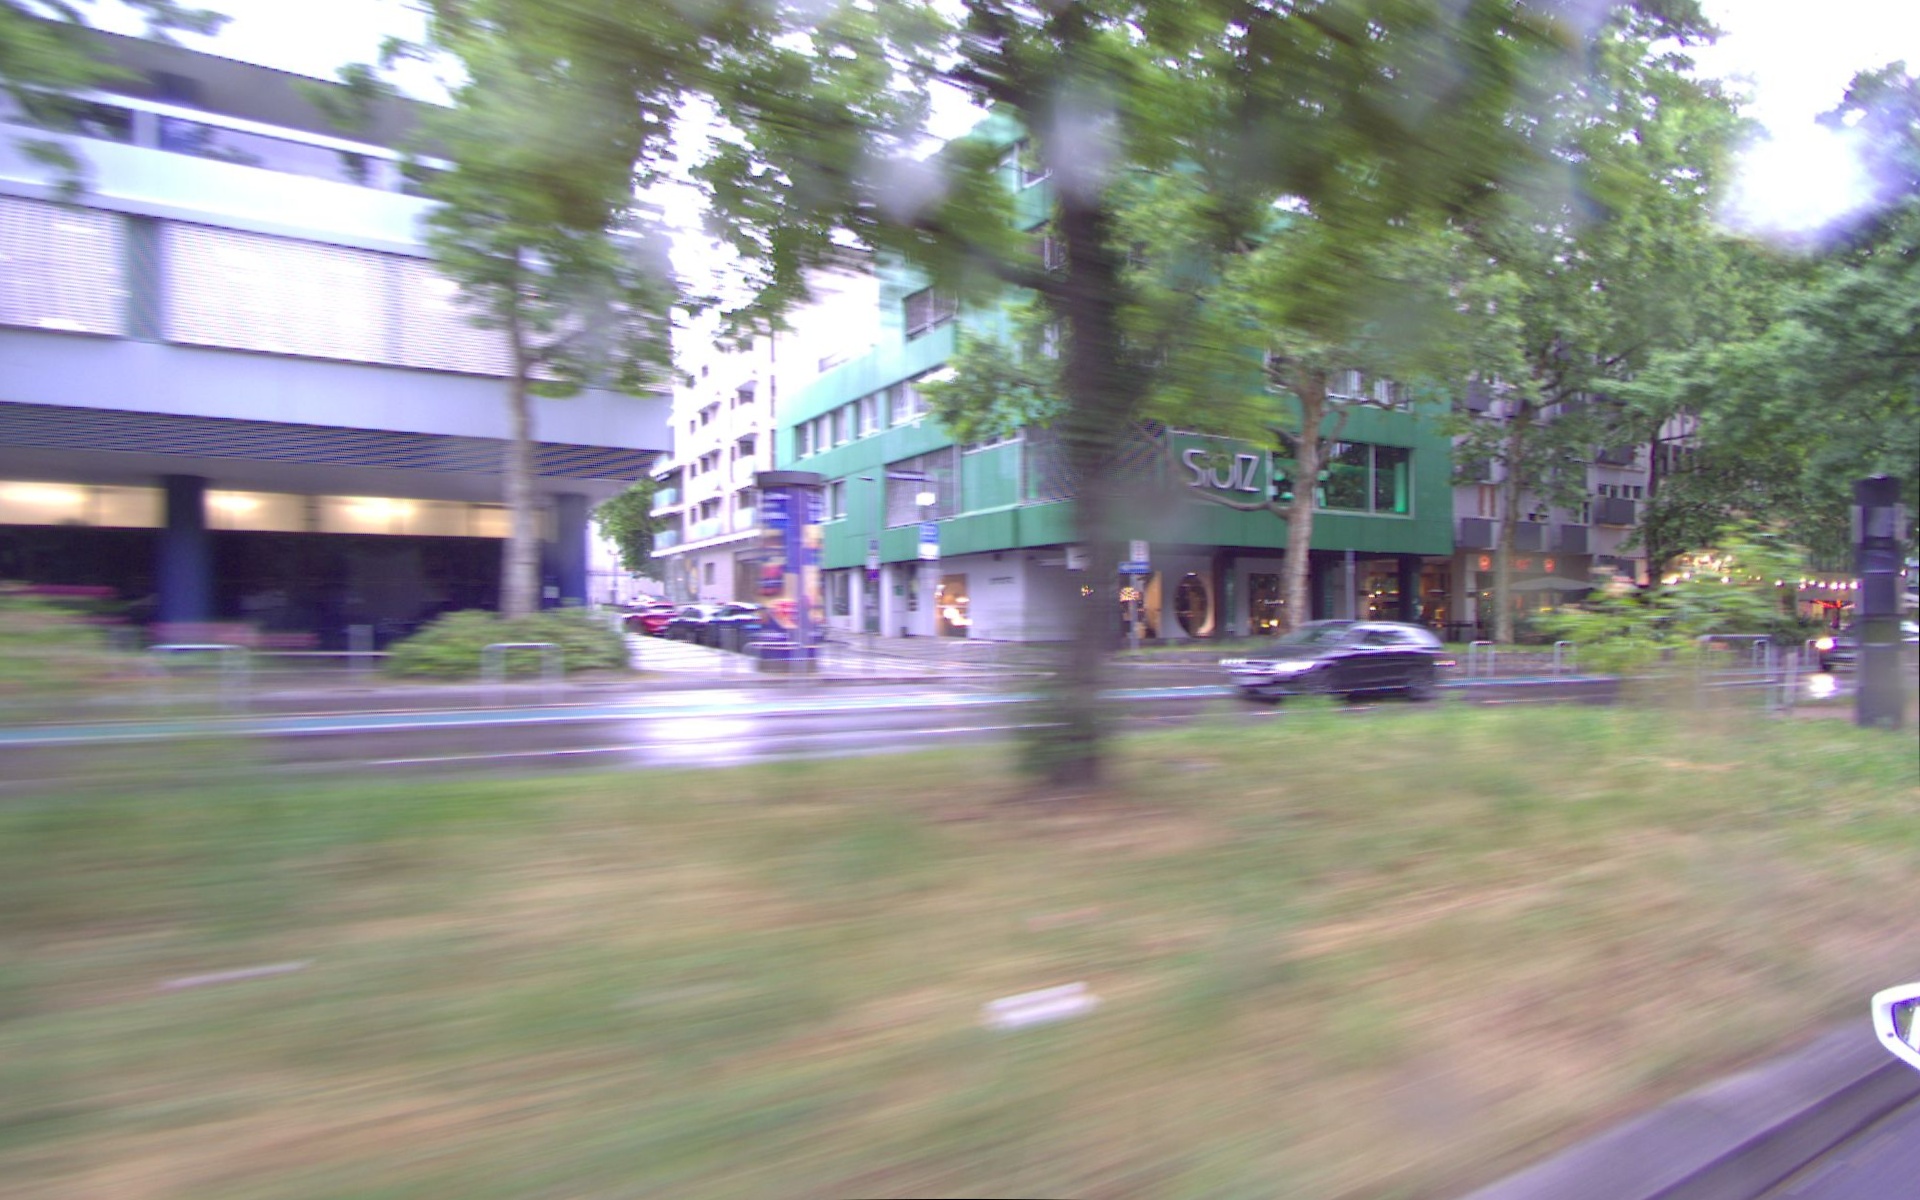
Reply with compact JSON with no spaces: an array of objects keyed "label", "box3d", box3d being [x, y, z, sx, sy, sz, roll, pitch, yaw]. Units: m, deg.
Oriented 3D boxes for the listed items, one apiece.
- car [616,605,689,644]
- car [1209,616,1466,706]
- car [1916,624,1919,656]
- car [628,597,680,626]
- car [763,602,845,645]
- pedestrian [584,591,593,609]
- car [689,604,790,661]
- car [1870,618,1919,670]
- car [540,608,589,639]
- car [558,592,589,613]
[{"label":"car","box3d":[-13.079,1.039,42.510,1.976,1.561,4.967,1,-1,-29]},{"label":"car","box3d":[7.146,1.071,18.923,4.697,1.511,1.985,1,-1,-29]},{"label":"car","box3d":[45.214,1.823,45.350,4.431,1.413,1.816,1,-1,-31]},{"label":"car","box3d":[-18.712,0.715,61.370,1.979,1.706,3.963,1,0,-33]},{"label":"car","box3d":[-6.642,0.954,42.589,1.979,1.706,3.963,1,0,-33]},{"label":"pedestrian","box3d":[-33.224,0.006,89.851,0.549,1.636,0.565,2,0,13]},{"label":"car","box3d":[-7.464,1.057,33.576,1.975,1.714,4.967,-1,-1,-29]},{"label":"car","box3d":[32.148,1.459,34.003,4.410,1.648,1.703,1,0,-44]},{"label":"car","box3d":[-23.520,1.367,59.653,1.979,1.706,3.963,1,0,-33]},{"label":"car","box3d":[-31.237,0.219,81.128,1.686,1.590,3.823,2,0,-32]}]
